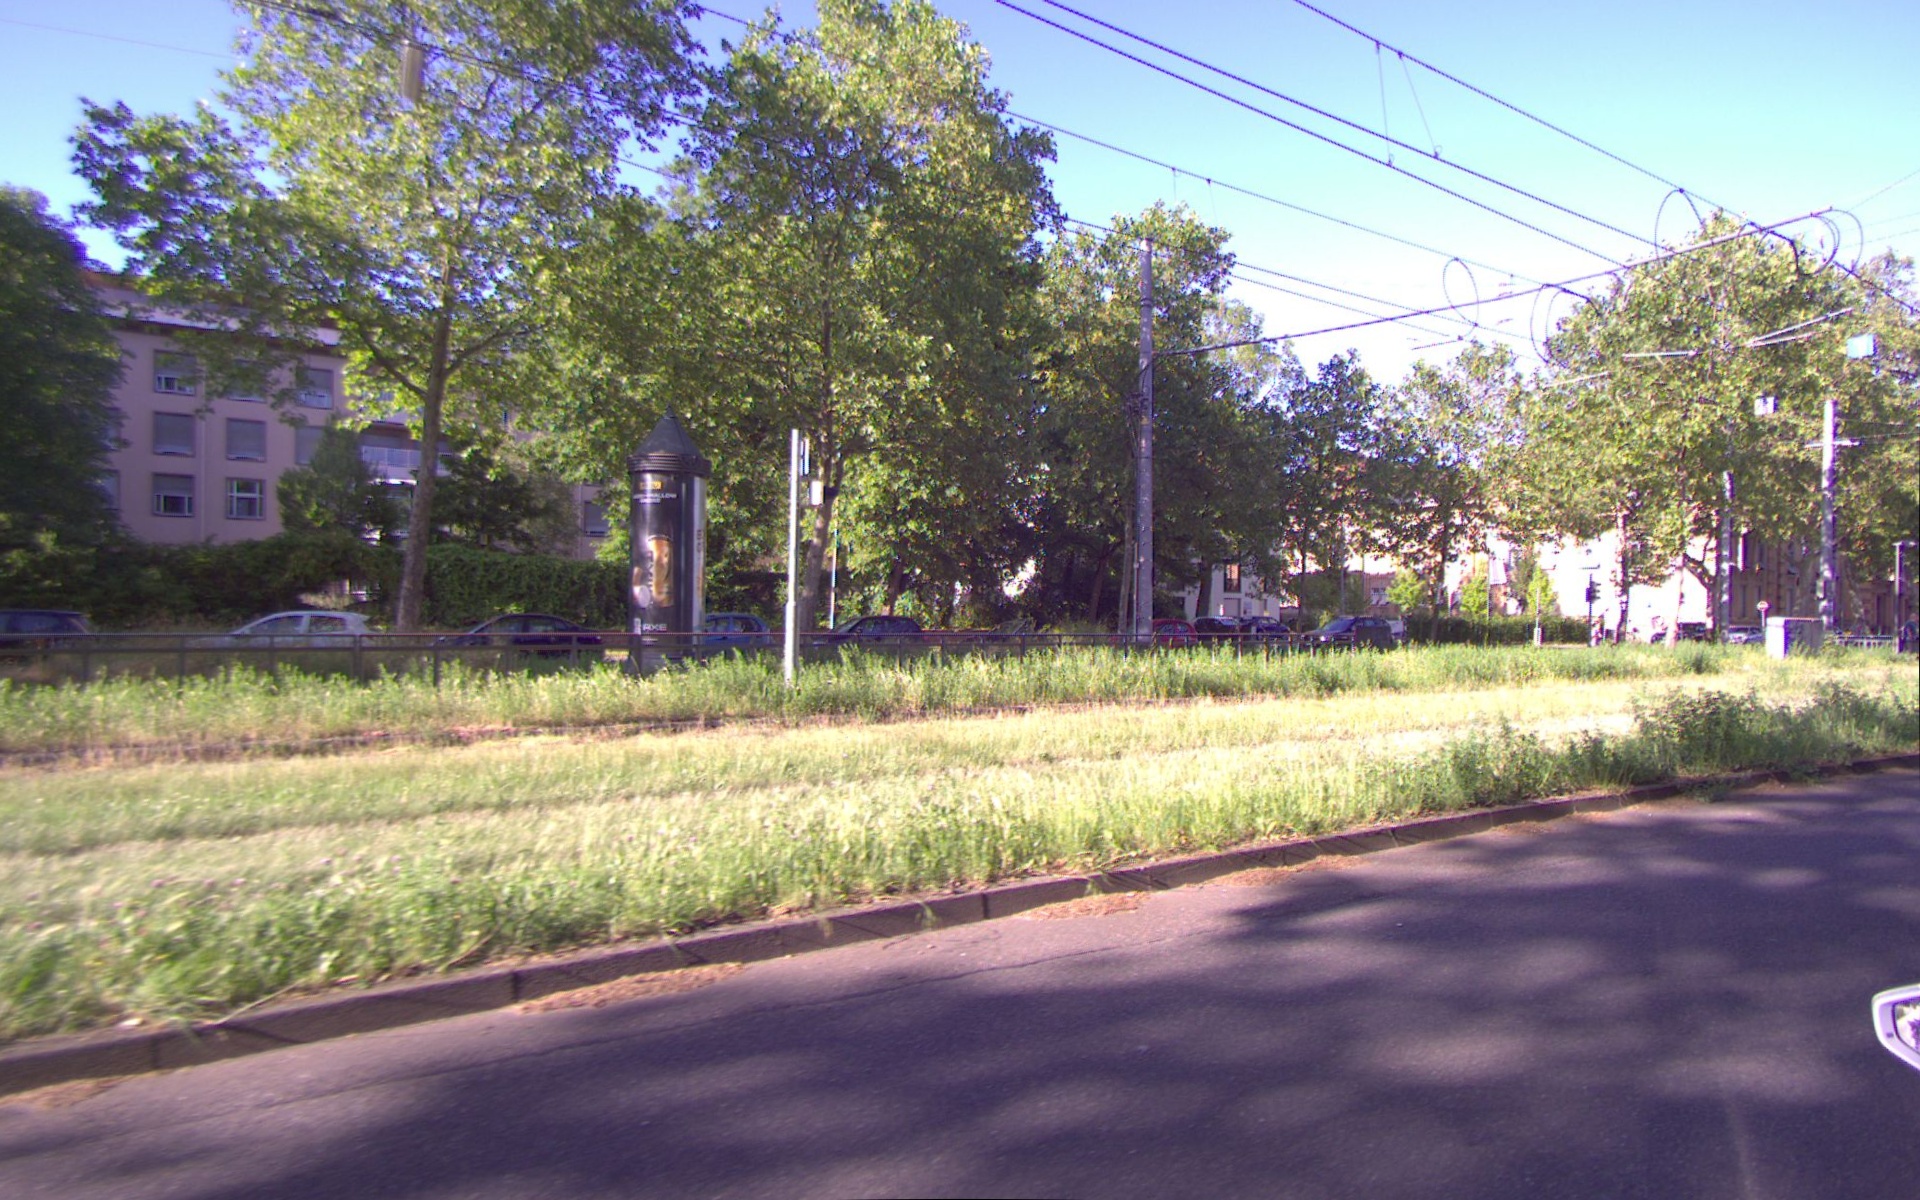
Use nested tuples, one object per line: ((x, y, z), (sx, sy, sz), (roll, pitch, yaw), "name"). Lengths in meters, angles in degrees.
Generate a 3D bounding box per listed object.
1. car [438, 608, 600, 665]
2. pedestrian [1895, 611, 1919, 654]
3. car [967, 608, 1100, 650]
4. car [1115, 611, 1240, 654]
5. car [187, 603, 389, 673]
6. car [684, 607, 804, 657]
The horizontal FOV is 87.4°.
((-10.419, 0.835, 23.790), (3.323, 1.245, 1.398), (1, 0, -33), "car")
((37.343, 1.279, 39.143), (0.885, 1.665, 1.167), (1, 0, -38), "pedestrian")
((2.371, 0.929, 32.232), (3.956, 1.194, 1.782), (1, 1, -32), "car")
((7.584, 1.079, 34.959), (3.952, 1.328, 1.984), (0, 2, -30), "car")
((-14.161, 0.752, 21.392), (3.464, 1.330, 1.559), (0, 2, -32), "car")
((-5.757, 0.839, 26.854), (2.814, 1.216, 1.392), (1, 1, -33), "car")
